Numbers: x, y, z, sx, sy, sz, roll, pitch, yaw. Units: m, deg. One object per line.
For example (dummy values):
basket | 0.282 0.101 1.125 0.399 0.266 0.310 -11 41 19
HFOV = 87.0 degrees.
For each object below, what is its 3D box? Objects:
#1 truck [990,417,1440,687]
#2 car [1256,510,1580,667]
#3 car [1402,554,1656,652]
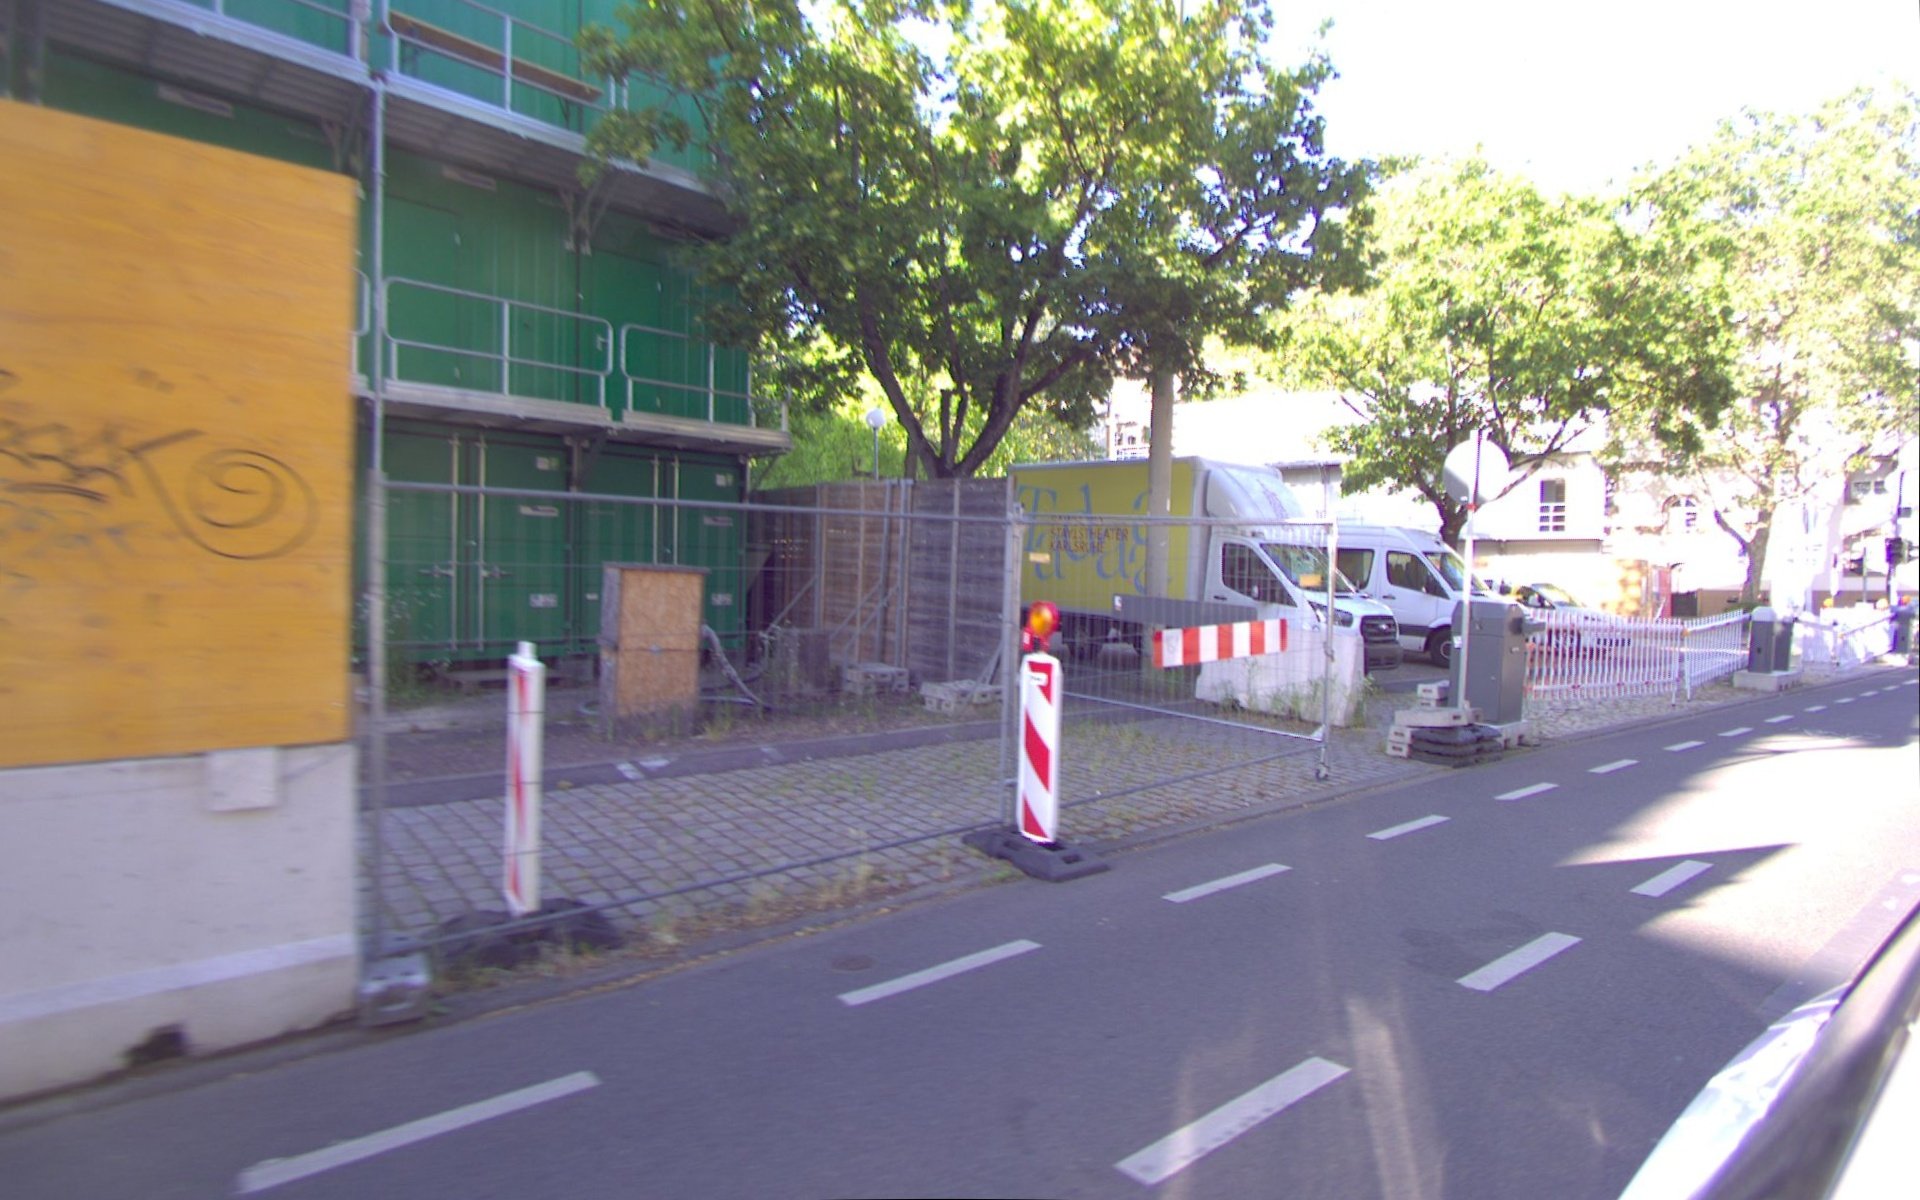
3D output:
truck | 3.712 -0.763 16.516 2.329 3.460 7.092 0 2 -39
car | 8.586 -0.303 19.483 1.978 2.594 5.335 0 2 -39
car | 13.113 0.008 23.639 1.962 2.035 4.800 0 1 -35
